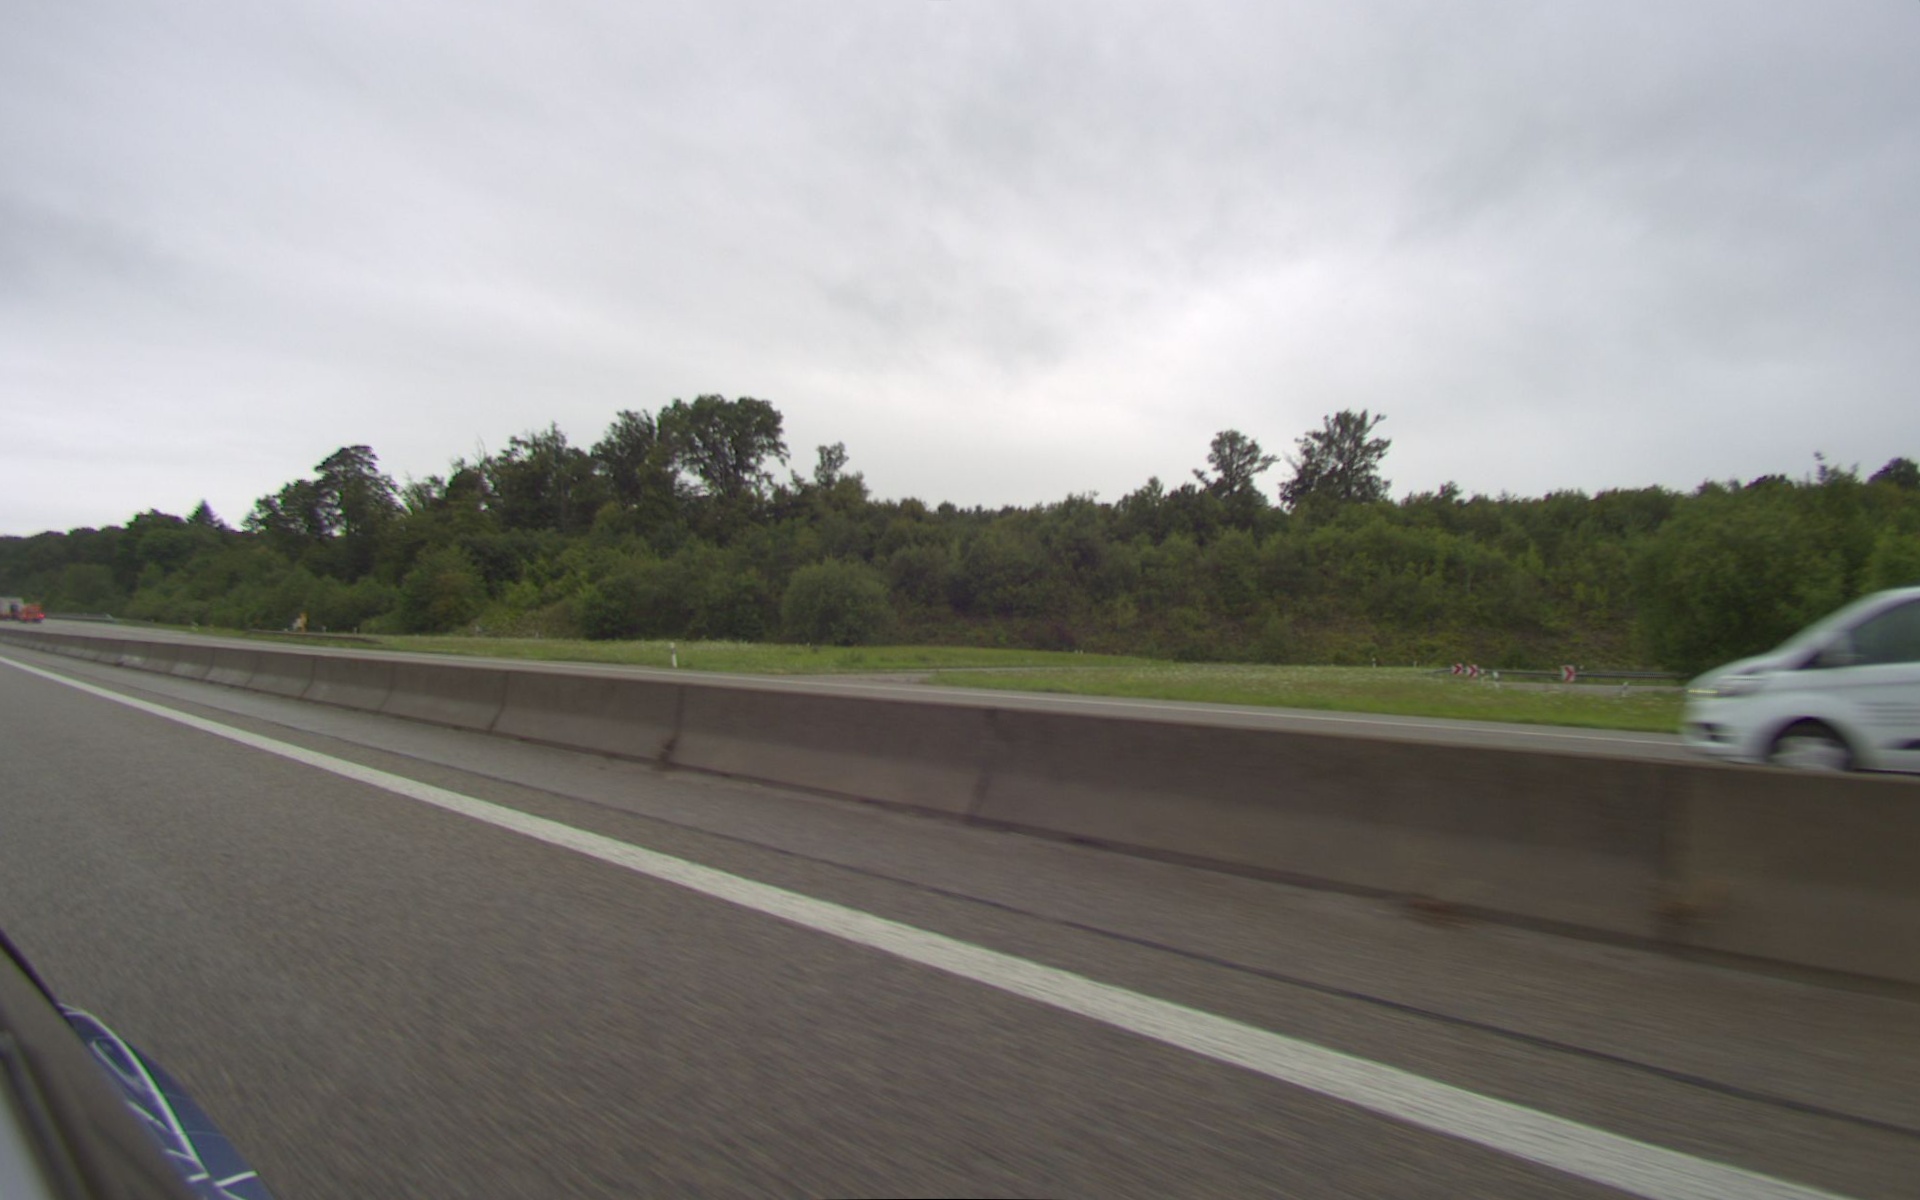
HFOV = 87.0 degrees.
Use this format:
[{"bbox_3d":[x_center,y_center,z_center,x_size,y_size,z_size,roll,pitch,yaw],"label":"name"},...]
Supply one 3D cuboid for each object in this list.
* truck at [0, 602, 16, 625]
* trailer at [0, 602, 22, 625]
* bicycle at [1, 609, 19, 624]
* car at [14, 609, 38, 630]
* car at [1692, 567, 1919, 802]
[{"bbox_3d":[-175.932,2.497,185.804,6.465,4.059,3.311,-1,-1,43],"label":"truck"},{"bbox_3d":[-169.862,2.445,180.114,12.610,4.048,3.325,-1,-1,43],"label":"trailer"},{"bbox_3d":[-164.769,2.816,175.449,1.110,2.545,2.170,-1,0,42],"label":"bicycle"},{"bbox_3d":[-139.890,2.955,151.514,5.975,3.066,2.157,-1,-1,42],"label":"car"},{"bbox_3d":[9.912,0.745,8.655,5.758,2.029,1.973,-1,-3,41],"label":"car"}]
